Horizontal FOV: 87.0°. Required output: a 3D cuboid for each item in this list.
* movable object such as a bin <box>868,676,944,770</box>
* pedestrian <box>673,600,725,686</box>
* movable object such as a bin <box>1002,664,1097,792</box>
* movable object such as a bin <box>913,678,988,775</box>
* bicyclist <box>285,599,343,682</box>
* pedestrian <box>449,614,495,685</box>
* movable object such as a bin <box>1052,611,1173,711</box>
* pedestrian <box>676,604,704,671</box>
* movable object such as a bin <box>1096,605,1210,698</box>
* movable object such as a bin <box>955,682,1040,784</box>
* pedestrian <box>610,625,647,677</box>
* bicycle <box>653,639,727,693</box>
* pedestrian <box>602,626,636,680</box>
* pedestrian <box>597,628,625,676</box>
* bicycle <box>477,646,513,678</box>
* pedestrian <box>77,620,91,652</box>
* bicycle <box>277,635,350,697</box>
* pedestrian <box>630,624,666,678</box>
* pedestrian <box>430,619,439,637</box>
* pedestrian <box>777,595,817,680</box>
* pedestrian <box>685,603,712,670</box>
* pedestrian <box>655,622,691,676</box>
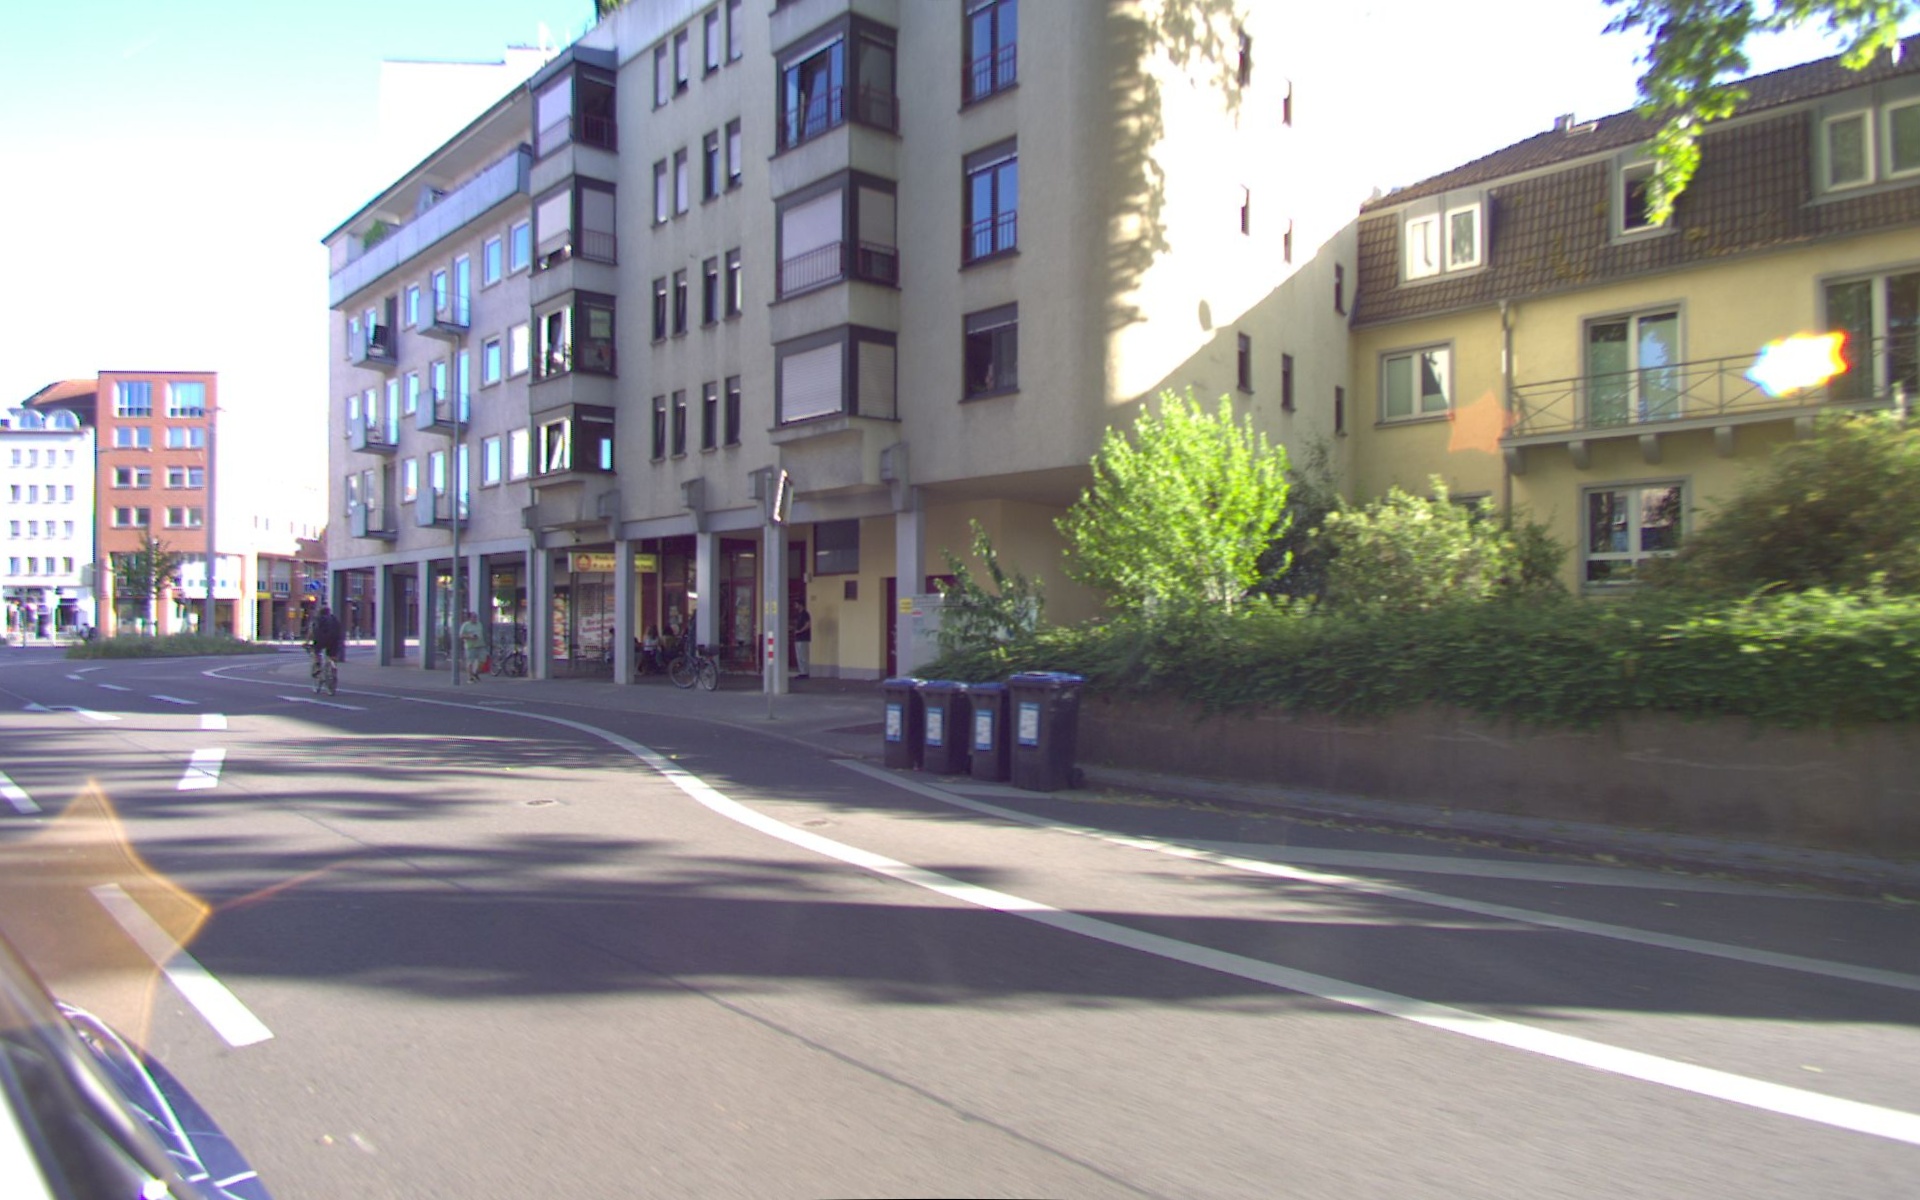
[{"bbox_3d":[-0.570,1.272,10.636,0.604,0.908,0.535,-2,-2,41],"label":"movable object such as a bin"},{"bbox_3d":[-5.944,0.958,23.061,0.806,1.883,0.814,-1,0,40],"label":"pedestrian"},{"bbox_3d":[0.822,1.146,9.287,0.644,1.079,0.588,-2,-2,41],"label":"movable object such as a bin"},{"bbox_3d":[-0.098,1.266,10.276,0.559,0.908,0.535,-2,-2,41],"label":"movable object such as a bin"},{"bbox_3d":[-13.366,0.820,20.925,1.168,1.654,0.720,-1,-2,43],"label":"bicyclist"},{"bbox_3d":[-12.290,1.222,25.498,0.723,1.753,0.823,-1,-1,42],"label":"pedestrian"},{"bbox_3d":[2.344,0.905,15.577,1.367,1.353,1.175,-2,3,42],"label":"movable object such as a bin"},{"bbox_3d":[-6.938,0.957,26.035,0.605,1.678,0.712,0,-1,-7],"label":"pedestrian"},{"bbox_3d":[3.147,0.806,16.508,1.367,1.353,1.175,-2,3,42],"label":"movable object such as a bin"},{"bbox_3d":[0.365,1.274,9.868,0.644,0.908,0.535,-1,-2,41],"label":"movable object such as a bin"},{"bbox_3d":[-8.941,1.365,27.310,0.700,1.346,0.740,0,-1,-43],"label":"pedestrian"},{"bbox_3d":[-5.624,1.347,21.023,2.010,1.053,0.444,-1,-2,42],"label":"bicycle"},{"bbox_3d":[-8.909,1.367,26.406,0.605,1.378,0.712,0,-1,-42],"label":"pedestrian"},{"bbox_3d":[-9.632,1.427,27.930,0.560,1.277,0.690,0,-1,-37],"label":"pedestrian"},{"bbox_3d":[-12.639,1.681,27.471,1.524,0.831,0.354,-2,-2,44],"label":"bicycle"},{"bbox_3d":[-48.344,1.970,55.860,0.585,1.760,0.503,-1,0,-40],"label":"pedestrian"},{"bbox_3d":[-13.374,1.337,20.920,2.179,1.209,0.720,-1,-3,43],"label":"bicycle"},{"bbox_3d":[-8.119,1.307,26.308,0.700,1.363,0.615,0,-1,-43],"label":"pedestrian"},{"bbox_3d":[-50.394,2.699,97.107,0.546,1.760,0.716,-1,0,-5],"label":"pedestrian"},{"bbox_3d":[-3.685,0.833,22.888,0.604,1.883,0.798,-1,0,-31],"label":"pedestrian"},{"bbox_3d":[-6.922,0.954,26.792,0.605,1.755,0.712,0,-1,-7],"label":"pedestrian"},{"bbox_3d":[-7.589,1.280,26.774,0.700,1.388,0.615,0,-1,-43],"label":"pedestrian"}]
